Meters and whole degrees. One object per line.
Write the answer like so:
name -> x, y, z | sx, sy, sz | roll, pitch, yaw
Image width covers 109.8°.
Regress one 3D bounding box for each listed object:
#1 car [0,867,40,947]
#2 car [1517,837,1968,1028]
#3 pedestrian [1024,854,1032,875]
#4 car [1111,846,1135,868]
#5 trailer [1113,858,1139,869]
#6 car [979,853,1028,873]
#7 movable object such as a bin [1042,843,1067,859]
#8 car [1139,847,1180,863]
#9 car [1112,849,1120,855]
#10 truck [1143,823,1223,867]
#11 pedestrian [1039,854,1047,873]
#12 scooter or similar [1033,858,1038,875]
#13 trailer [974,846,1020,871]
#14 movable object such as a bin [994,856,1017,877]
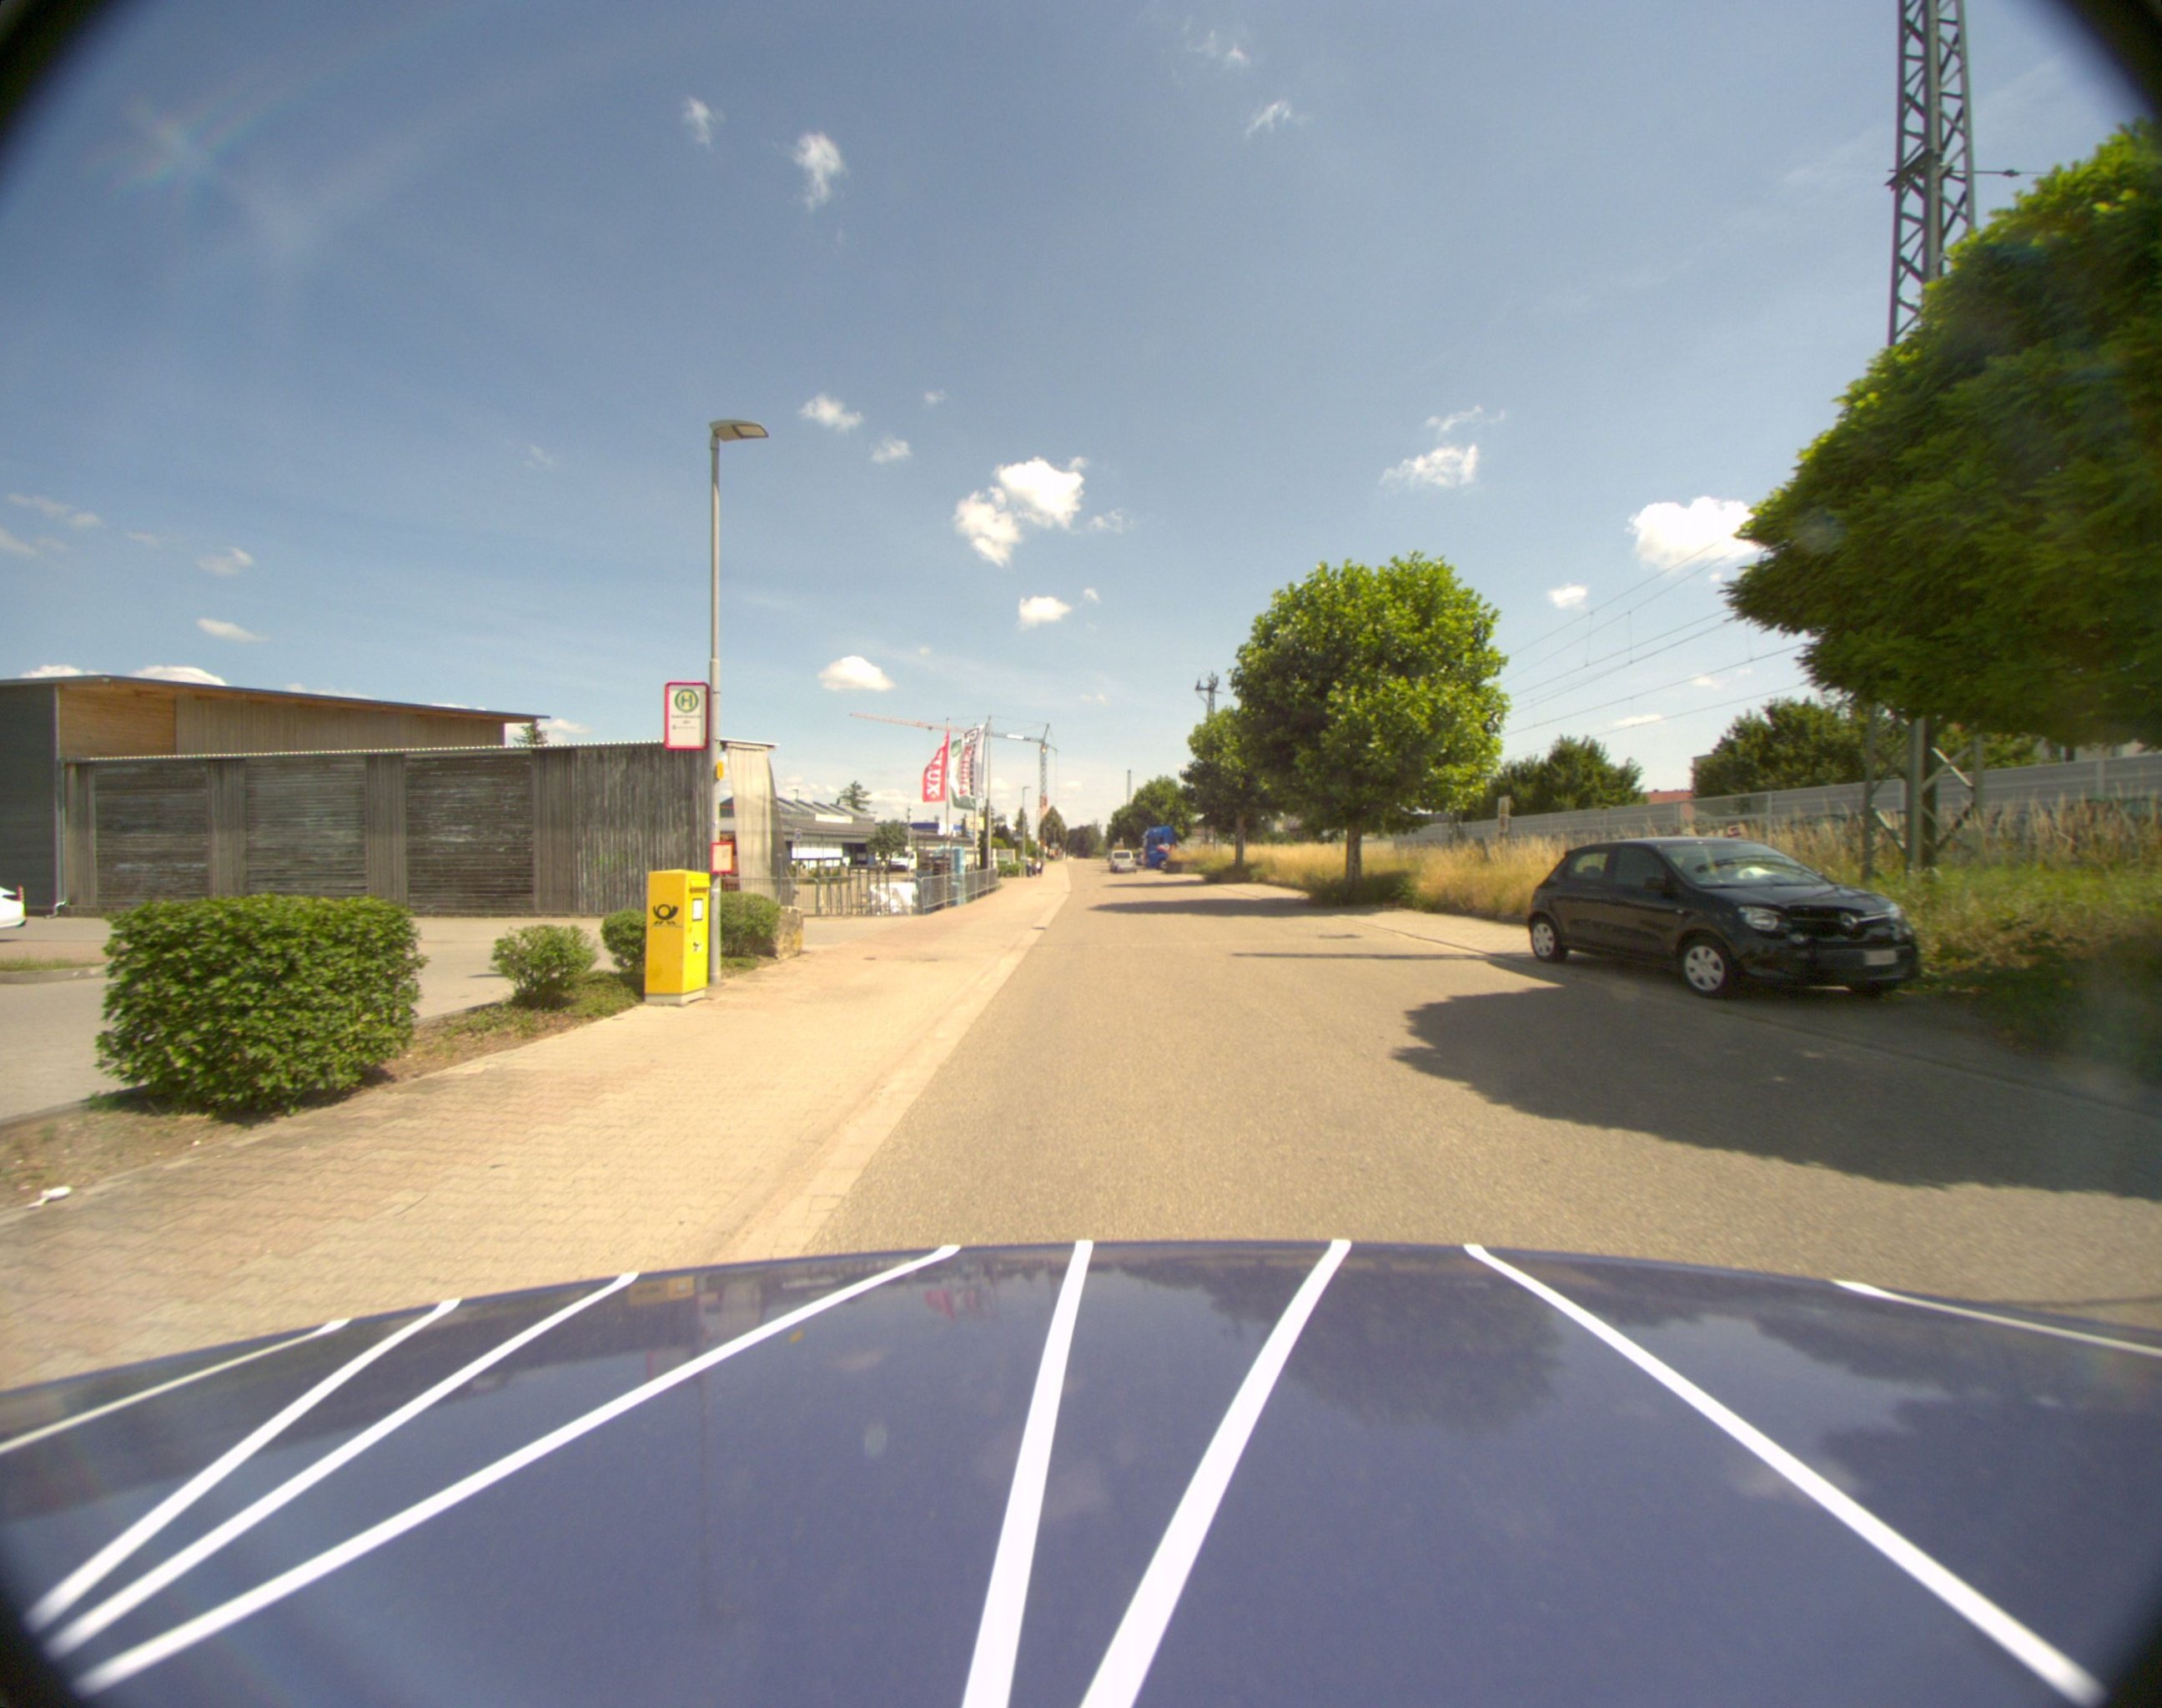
car -> -23.576, 1.088, 14.187 | 1.997, 1.652, 4.441 | -1, -1, 8
car -> 6.658, 0.660, 8.243 | 1.746, 1.586, 3.579 | -1, 0, -1
pedestrian -> -3.765, 0.740, 54.093 | 0.536, 1.531, 0.510 | 1, 2, -2
car -> 3.626, 0.266, 66.967 | 1.843, 1.847, 4.483 | -1, 1, 0
trailer -> 3.674, 0.794, 62.551 | 1.823, 0.845, 4.222 | 0, 0, 0
car -> -6.778, 0.815, 66.883 | 4.224, 1.625, 1.799 | 0, 3, -2
movable object such as a bin -> -6.097, -0.690, 173.588 | 5.133, 3.277, 2.390 | 0, 6, -17
car -> 8.207, 0.124, 79.415 | 3.981, 1.608, 1.850 | -1, 1, -4
car -> 7.969, -0.367, 172.617 | 1.607, 1.342, 4.000 | 0, 1, 1
truck -> 8.944, -0.799, 67.178 | 6.632, 3.801, 2.663 | 0, 0, -3
pedestrian -> -2.753, 0.685, 55.340 | 0.595, 1.397, 0.583 | 0, 3, -1
scooter or similar -> -3.254, 0.916, 54.010 | 0.334, 1.191, 0.397 | 0, 3, 0
trailer -> -7.685, 0.406, 69.764 | 3.997, 2.000, 2.001 | -2, -4, -1
movable object such as a bin -> -5.374, 0.912, 54.159 | 1.270, 1.450, 1.046 | -3, 1, -38
